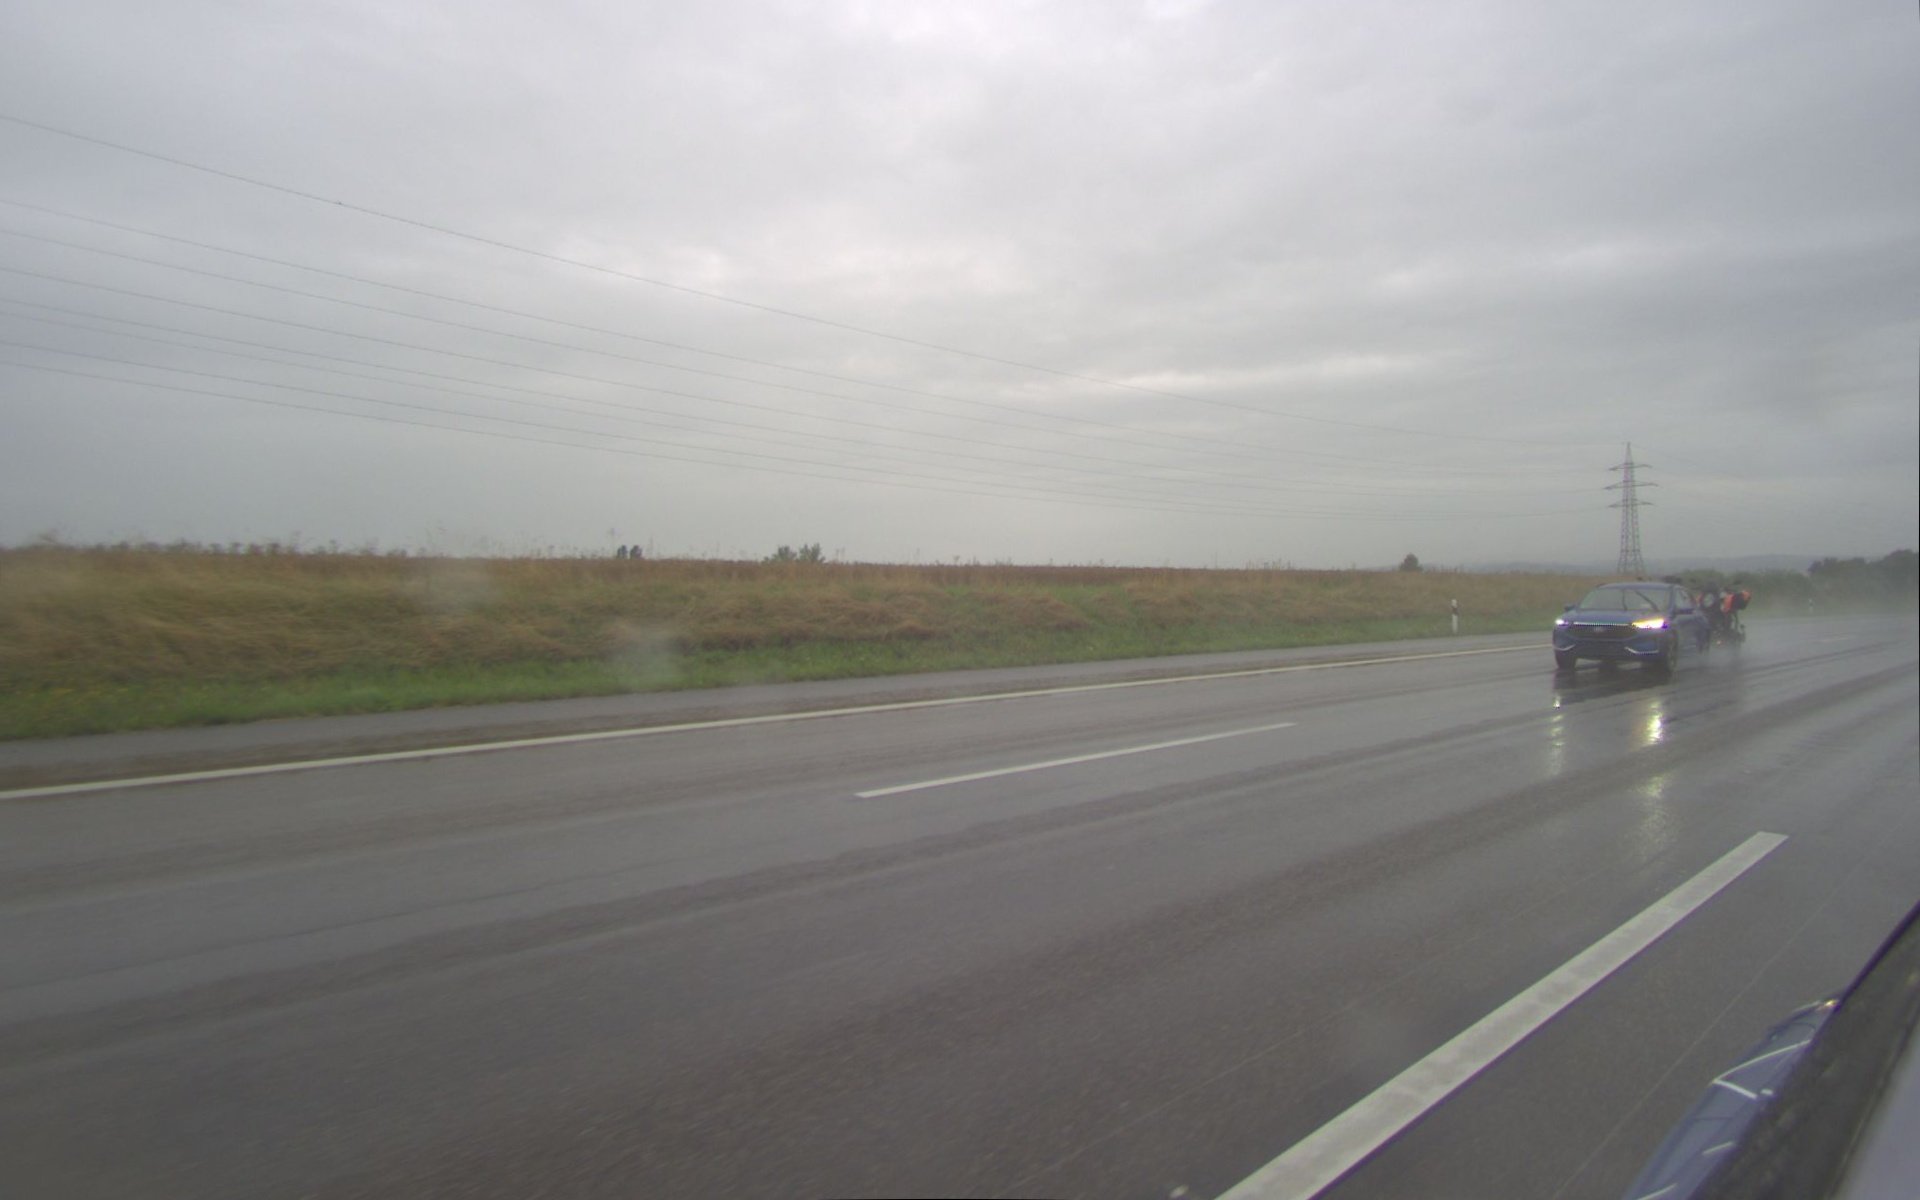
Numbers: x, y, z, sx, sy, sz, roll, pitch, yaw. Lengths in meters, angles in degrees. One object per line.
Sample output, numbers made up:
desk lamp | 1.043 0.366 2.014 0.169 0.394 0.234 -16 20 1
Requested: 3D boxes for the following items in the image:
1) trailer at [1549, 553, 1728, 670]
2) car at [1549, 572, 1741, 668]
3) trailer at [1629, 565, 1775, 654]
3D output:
trailer | 13.218 0.169 19.635 3.931 2.039 1.996 -1 1 -42
car | 13.408 0.295 19.681 4.907 1.639 1.996 -1 2 -42
trailer | 16.427 0.160 22.369 3.134 1.807 1.982 -1 1 -42
